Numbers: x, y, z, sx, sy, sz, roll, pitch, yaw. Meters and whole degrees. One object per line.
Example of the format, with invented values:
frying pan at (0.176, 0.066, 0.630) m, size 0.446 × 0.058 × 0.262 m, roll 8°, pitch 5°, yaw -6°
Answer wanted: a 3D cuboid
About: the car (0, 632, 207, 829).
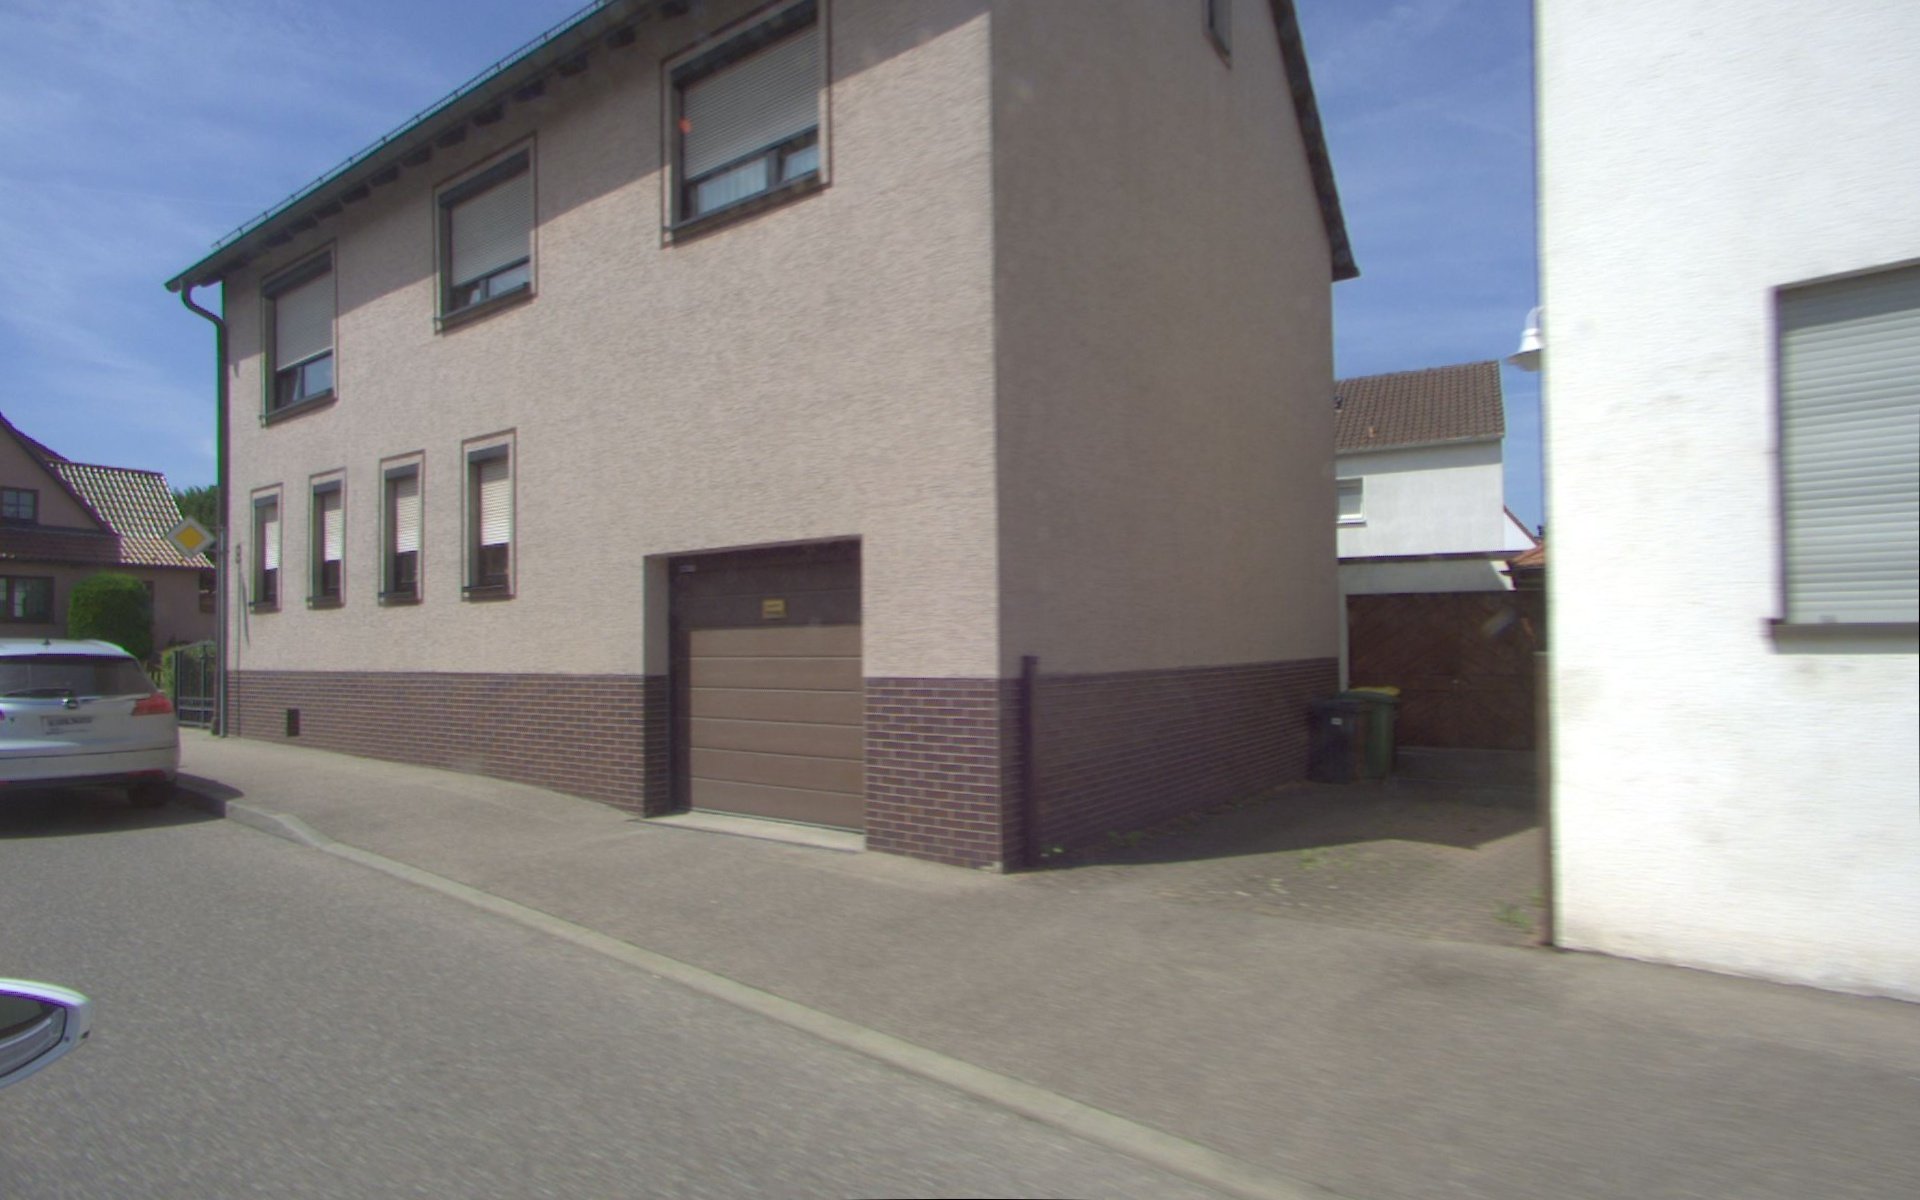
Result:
car at (-8.627, 1.015, 8.964) m, size 4.279 × 1.460 × 1.781 m, roll -1°, pitch -3°, yaw 36°
